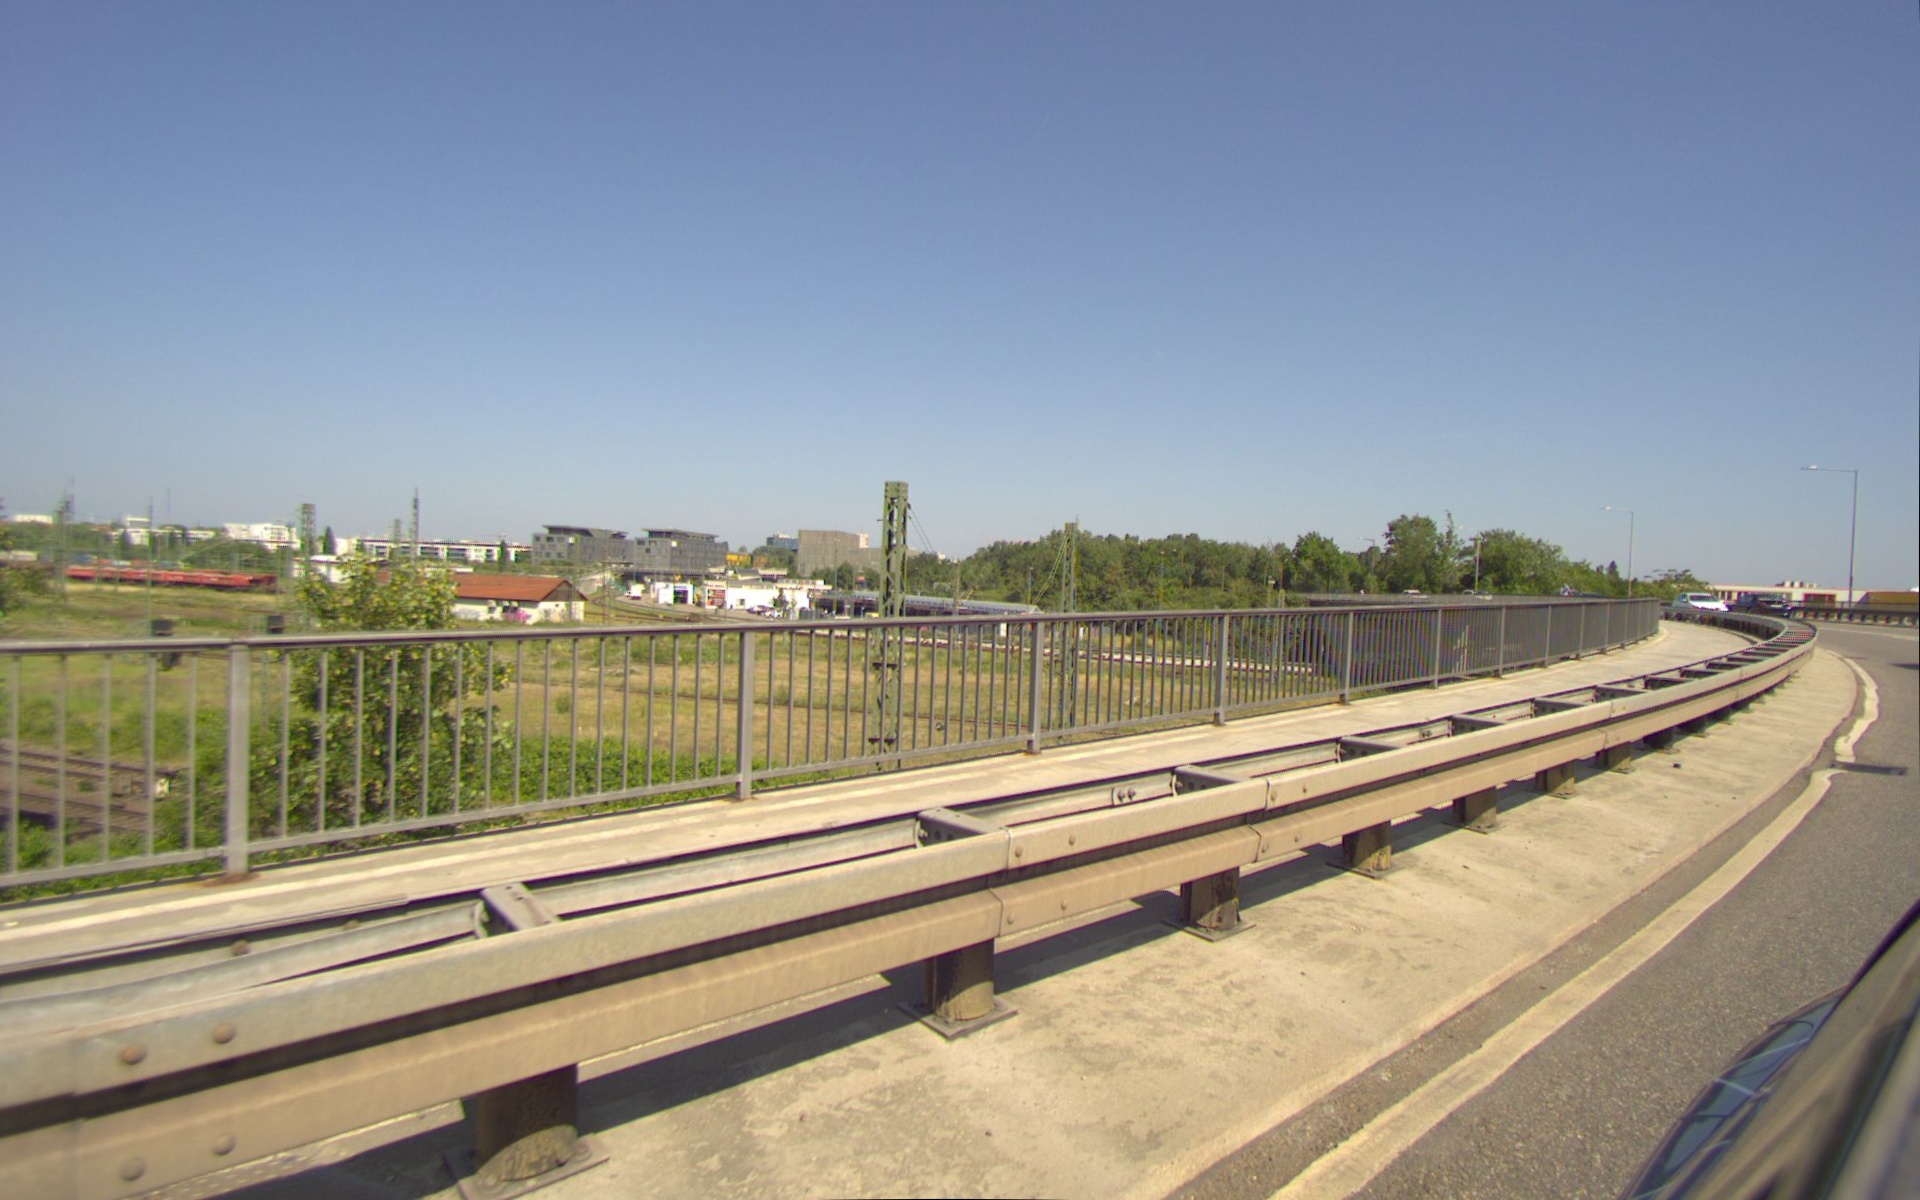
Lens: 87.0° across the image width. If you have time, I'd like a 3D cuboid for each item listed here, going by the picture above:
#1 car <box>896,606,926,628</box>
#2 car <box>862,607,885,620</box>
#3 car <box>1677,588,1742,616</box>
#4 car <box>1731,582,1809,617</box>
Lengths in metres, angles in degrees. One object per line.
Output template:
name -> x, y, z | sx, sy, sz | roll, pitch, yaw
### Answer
car -> -7.382, 2.519, 152.004 | 2.264, 2.694, 5.385 | -5, 5, -30
car -> -14.091, 2.192, 164.826 | 1.962, 1.893, 4.003 | -5, 3, -31
car -> 41.474, 0.074, 56.121 | 1.825, 1.507, 4.123 | 0, 1, 21
car -> 44.940, -0.067, 56.283 | 1.822, 1.849, 4.663 | 0, 1, 18
